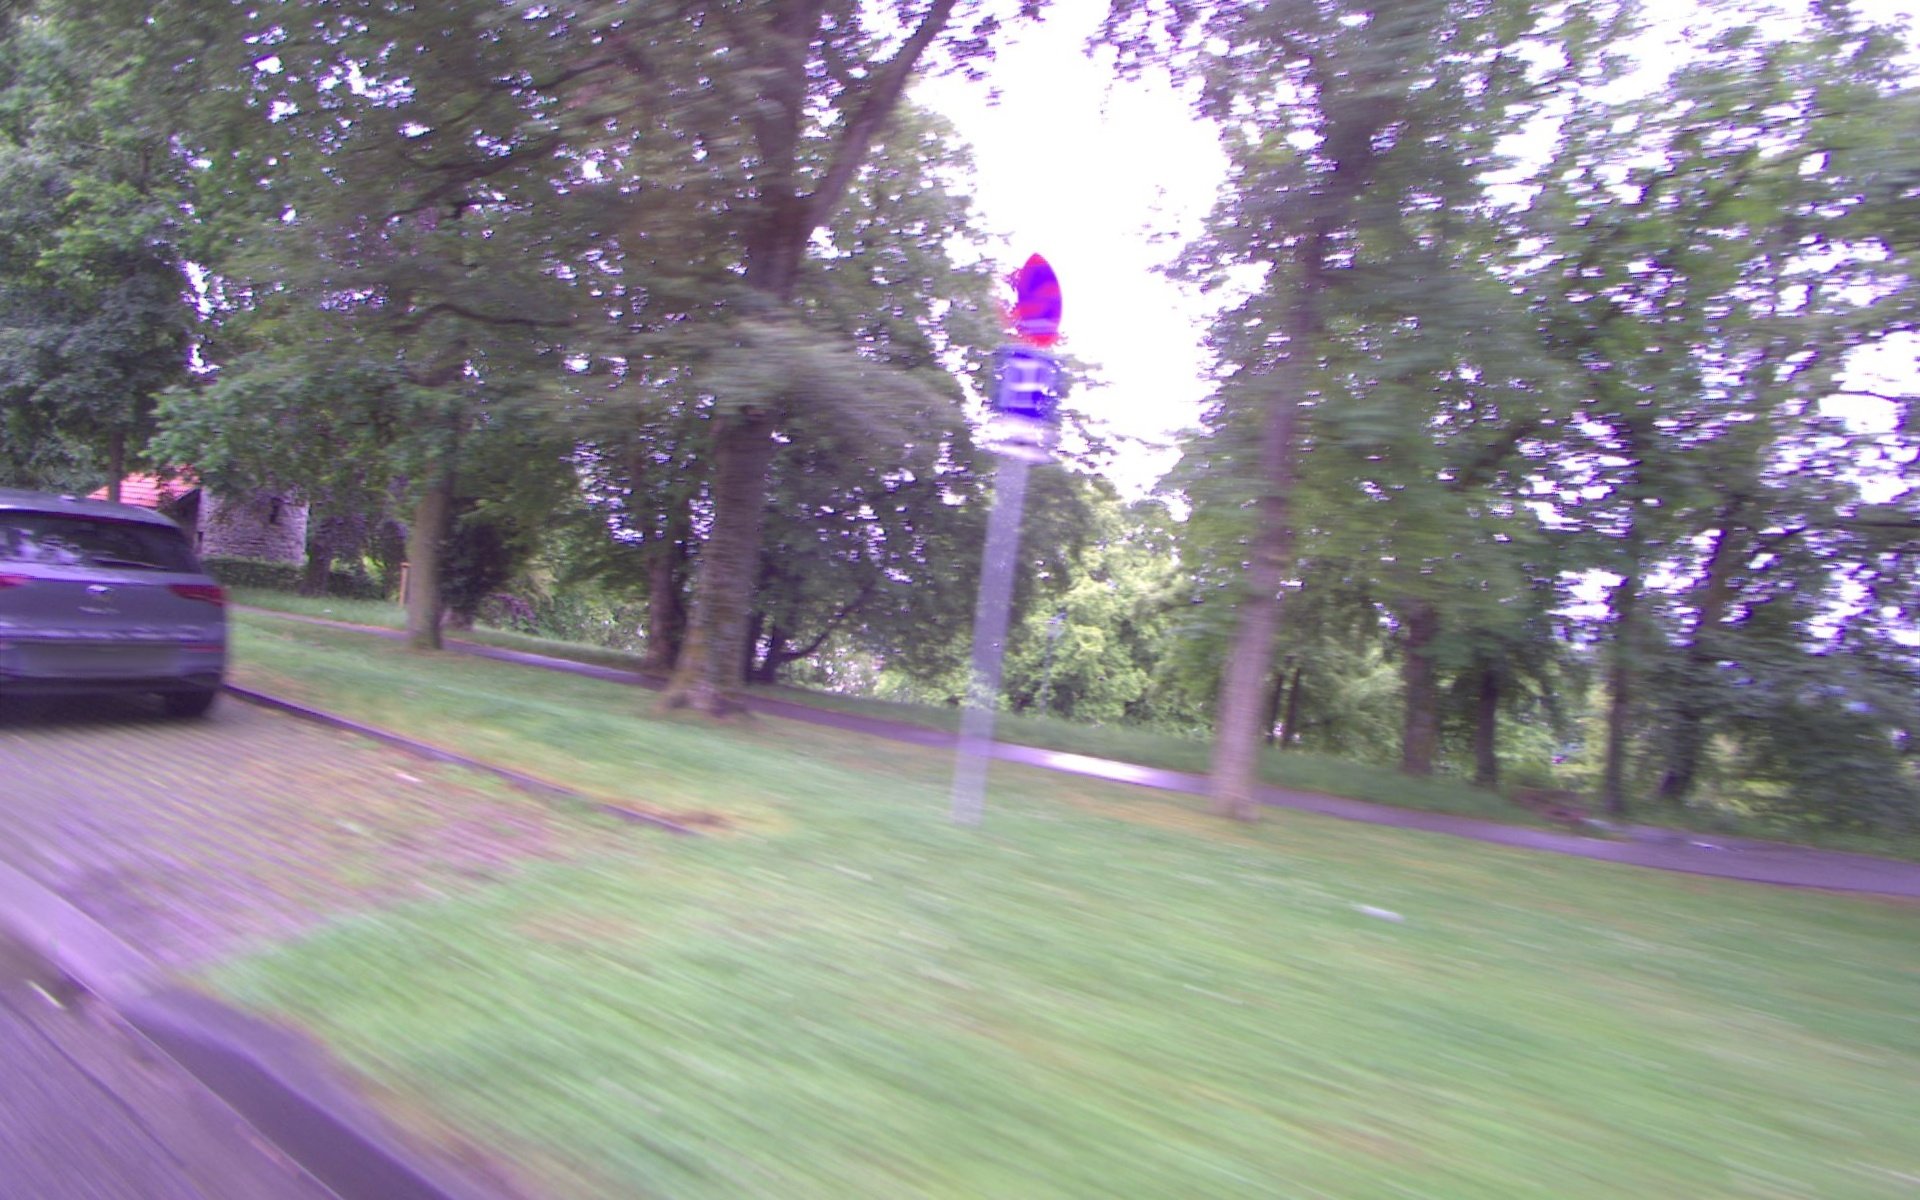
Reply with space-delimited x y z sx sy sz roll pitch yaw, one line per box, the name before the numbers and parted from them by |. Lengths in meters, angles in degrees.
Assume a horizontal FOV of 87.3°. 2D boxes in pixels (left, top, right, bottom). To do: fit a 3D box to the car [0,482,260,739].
car | -7.029 -0.099 7.253 4.148 1.480 1.702 6 1 32
